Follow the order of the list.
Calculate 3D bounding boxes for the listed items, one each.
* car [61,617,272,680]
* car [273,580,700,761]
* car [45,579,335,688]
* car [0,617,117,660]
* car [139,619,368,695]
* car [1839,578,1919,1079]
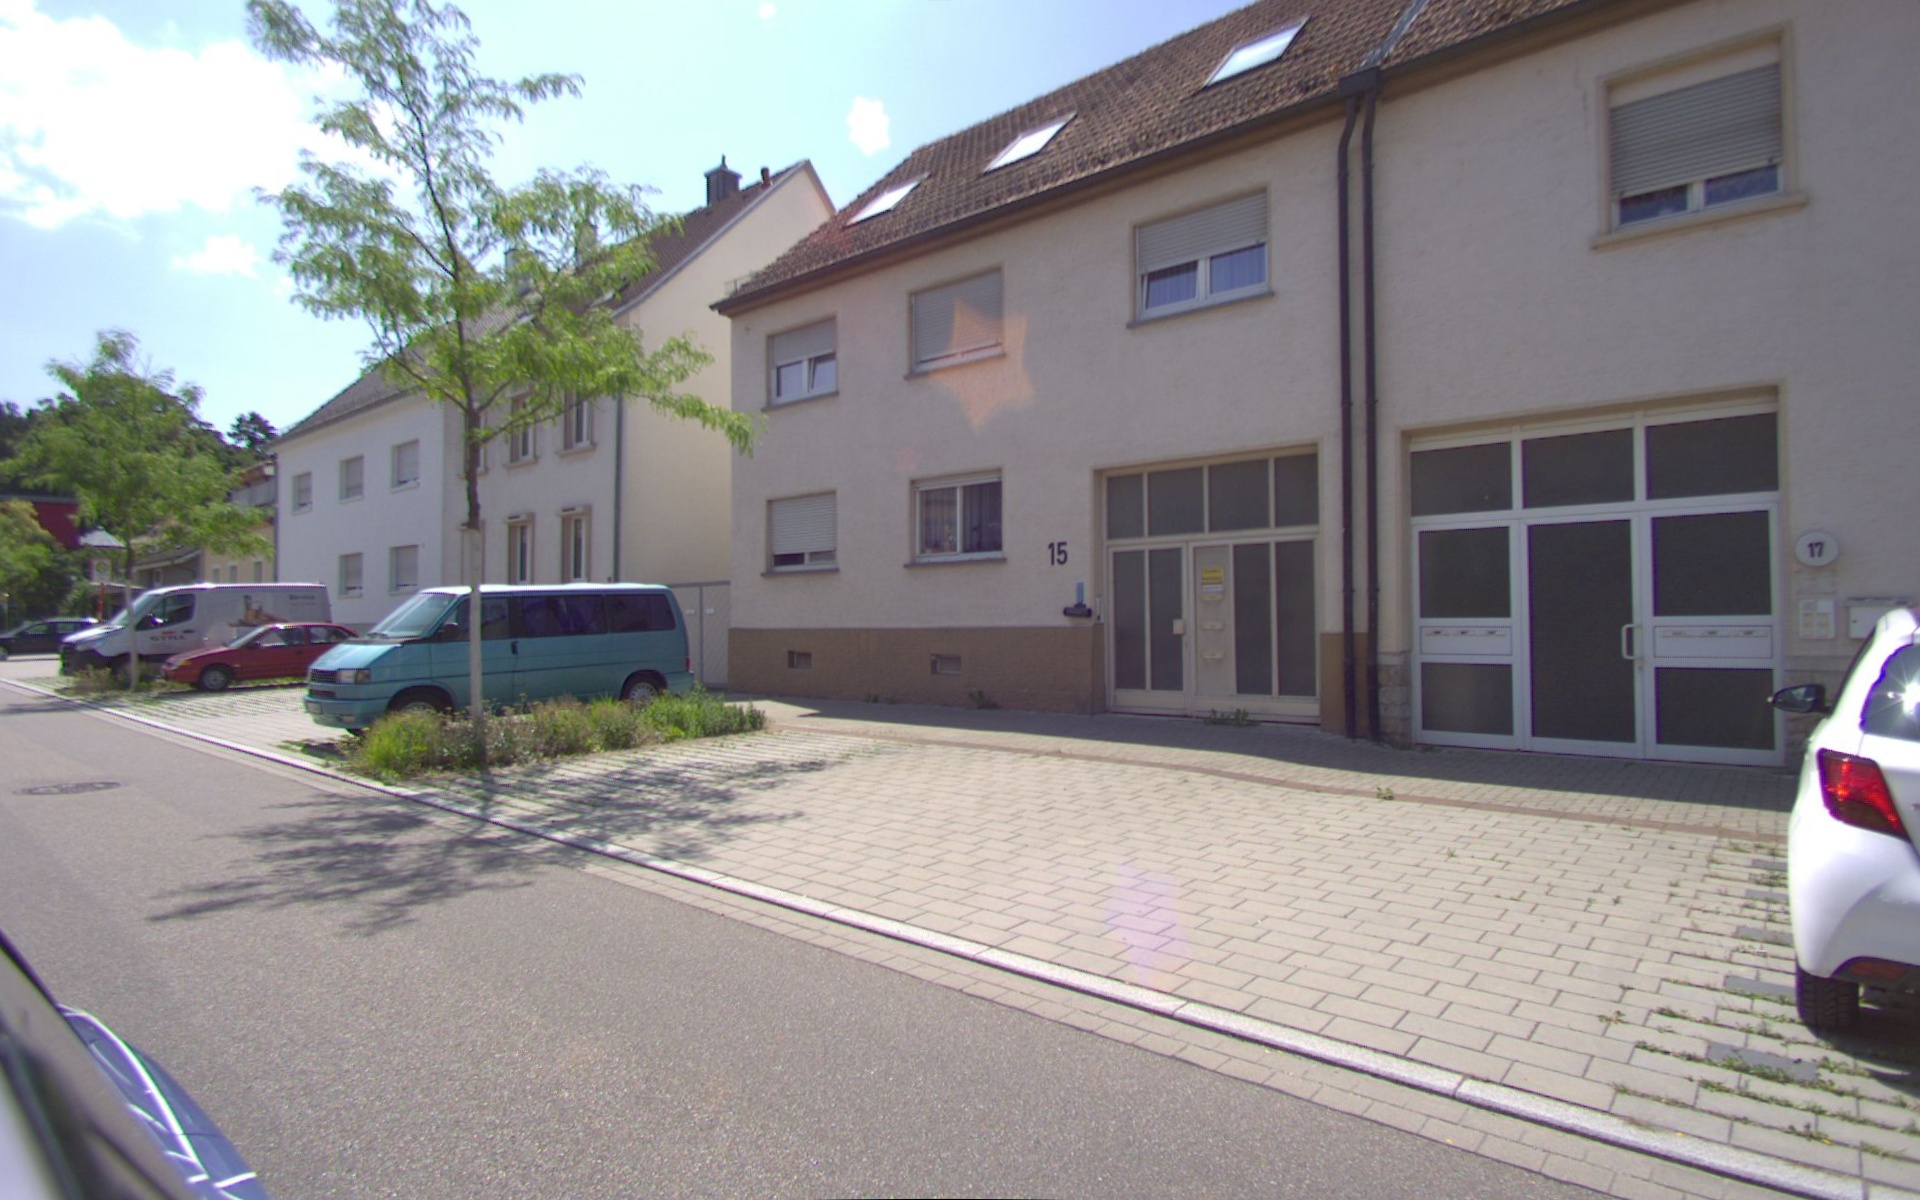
[{"bbox_3d":[-20.298,1.199,26.025,1.899,1.457,3.949,-1,-1,38],"label":"car"},{"bbox_3d":[-5.939,0.733,13.181,1.999,1.921,4.628,-1,0,41],"label":"car"},{"bbox_3d":[-18.120,0.694,24.071,2.155,2.305,5.116,-1,0,38],"label":"car"},{"bbox_3d":[-34.796,1.432,38.028,1.900,1.528,4.540,-1,-1,40],"label":"car"},{"bbox_3d":[-15.137,1.155,21.814,1.725,1.396,3.744,-1,0,41],"label":"car"},{"bbox_3d":[4.698,0.664,3.974,1.772,1.500,3.874,-1,-1,42],"label":"car"}]
